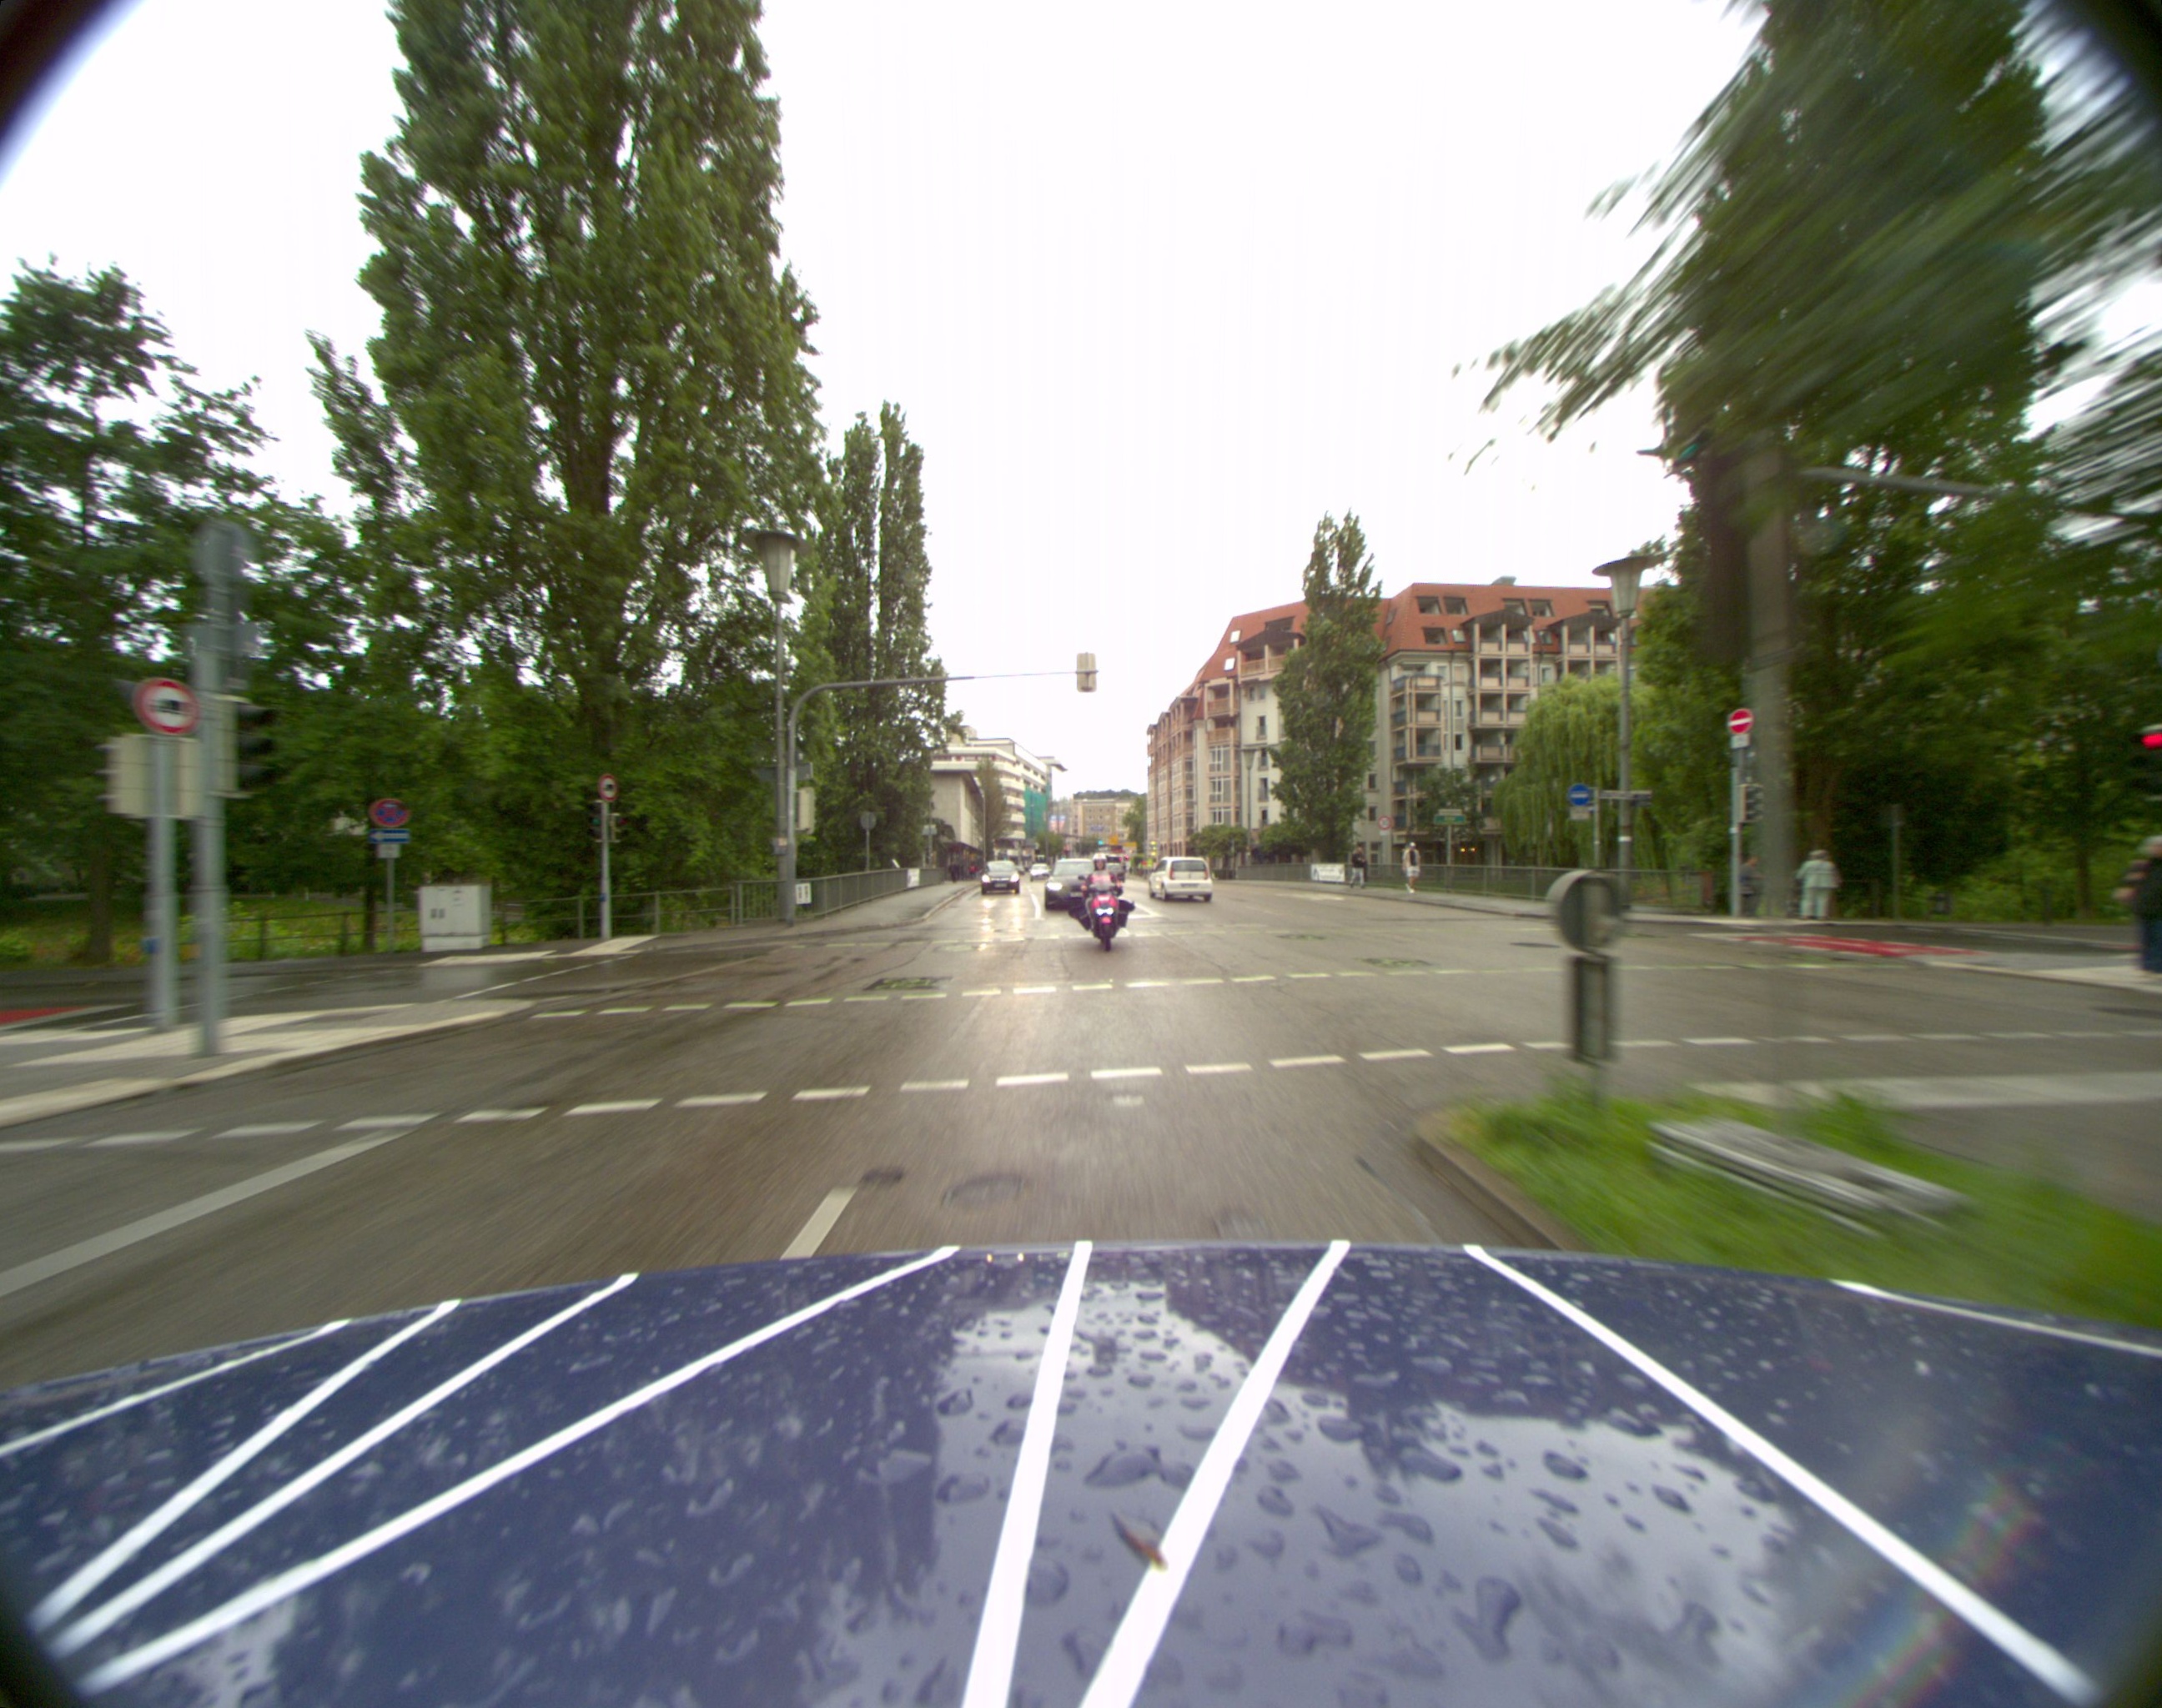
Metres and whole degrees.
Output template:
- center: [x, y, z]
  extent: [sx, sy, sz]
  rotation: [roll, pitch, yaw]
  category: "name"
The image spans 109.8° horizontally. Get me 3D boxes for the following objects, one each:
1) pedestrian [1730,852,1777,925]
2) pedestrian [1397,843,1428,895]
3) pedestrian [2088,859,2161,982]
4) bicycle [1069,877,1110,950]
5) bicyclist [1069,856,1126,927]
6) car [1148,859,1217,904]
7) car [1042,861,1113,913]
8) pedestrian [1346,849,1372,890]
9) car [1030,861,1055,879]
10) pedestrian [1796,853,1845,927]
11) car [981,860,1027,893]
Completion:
- center: [15.923, 0.804, 17.983]
  extent: [0.748, 1.681, 0.681]
  rotation: [0, 0, -36]
  category: "pedestrian"
- center: [12.221, 0.556, 28.031]
  extent: [0.746, 1.876, 0.799]
  rotation: [0, 0, -7]
  category: "pedestrian"
- center: [13.009, 0.803, 9.329]
  extent: [0.561, 1.432, 0.608]
  rotation: [-4, 0, -23]
  category: "pedestrian"
- center: [0.163, 1.136, 14.879]
  extent: [0.717, 1.297, 2.429]
  rotation: [1, -3, 0]
  category: "bicycle"
- center: [0.287, 0.686, 13.682]
  extent: [0.963, 1.218, 0.715]
  rotation: [-1, -3, -1]
  category: "bicyclist"
- center: [3.455, 0.915, 26.365]
  extent: [1.670, 1.456, 3.253]
  rotation: [0, 0, -5]
  category: "car"
- center: [-0.018, 0.978, 24.049]
  extent: [1.896, 1.396, 4.362]
  rotation: [-2, 0, 4]
  category: "car"
- center: [11.727, 0.650, 32.045]
  extent: [0.767, 1.685, 0.799]
  rotation: [0, 0, -7]
  category: "pedestrian"
- center: [-3.544, 1.467, 69.121]
  extent: [1.898, 1.566, 4.358]
  rotation: [1, -1, -8]
  category: "car"
- center: [16.894, 0.807, 17.356]
  extent: [0.684, 1.639, 0.744]
  rotation: [0, 0, -40]
  category: "pedestrian"
- center: [-3.456, 1.010, 34.681]
  extent: [1.897, 1.391, 4.360]
  rotation: [1, -1, -4]
  category: "car"
